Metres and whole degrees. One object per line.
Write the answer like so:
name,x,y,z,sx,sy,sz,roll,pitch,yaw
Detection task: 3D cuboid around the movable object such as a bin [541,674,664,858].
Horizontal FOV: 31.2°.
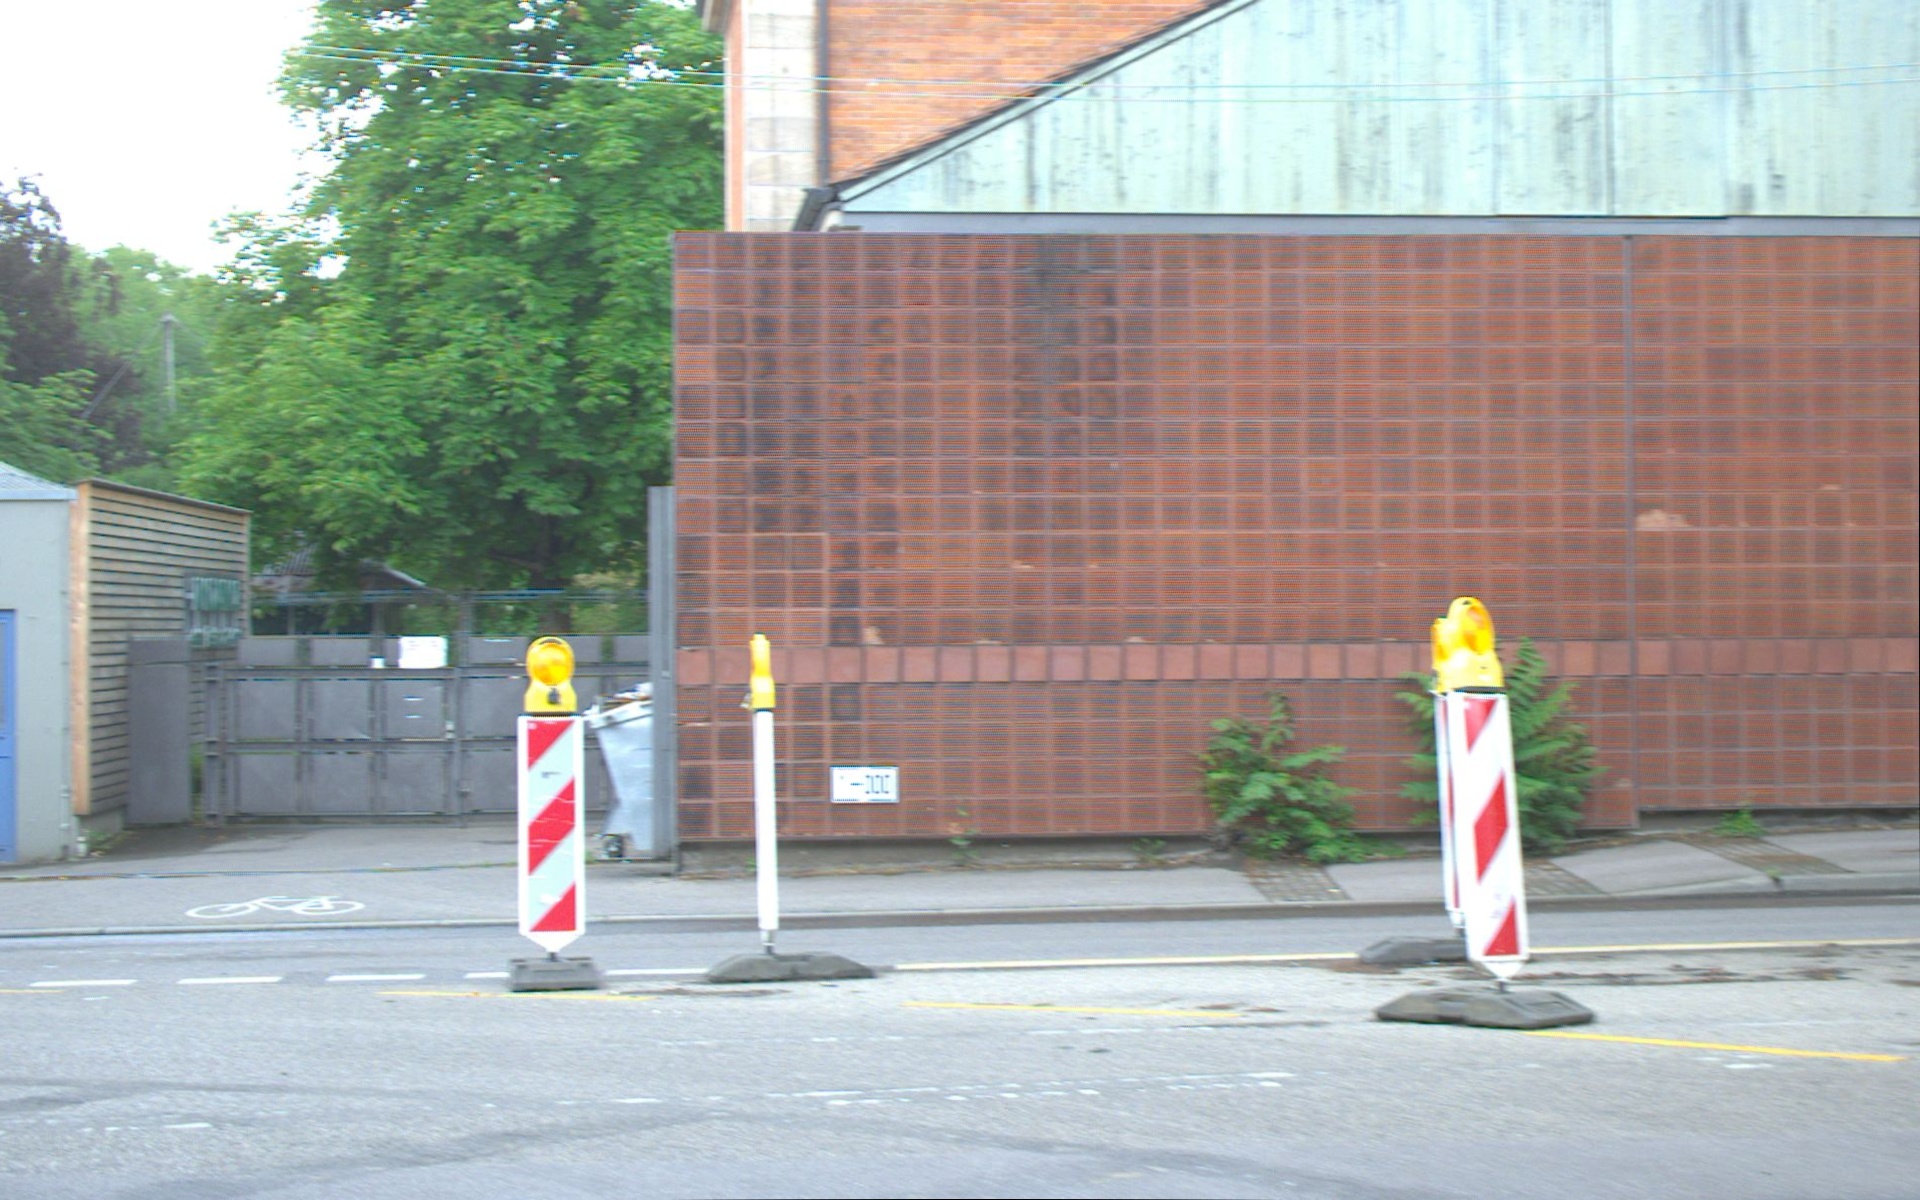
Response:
movable object such as a bin,-2.668,1.231,25.737,0.848,1.336,0.801,-1,-1,-3
